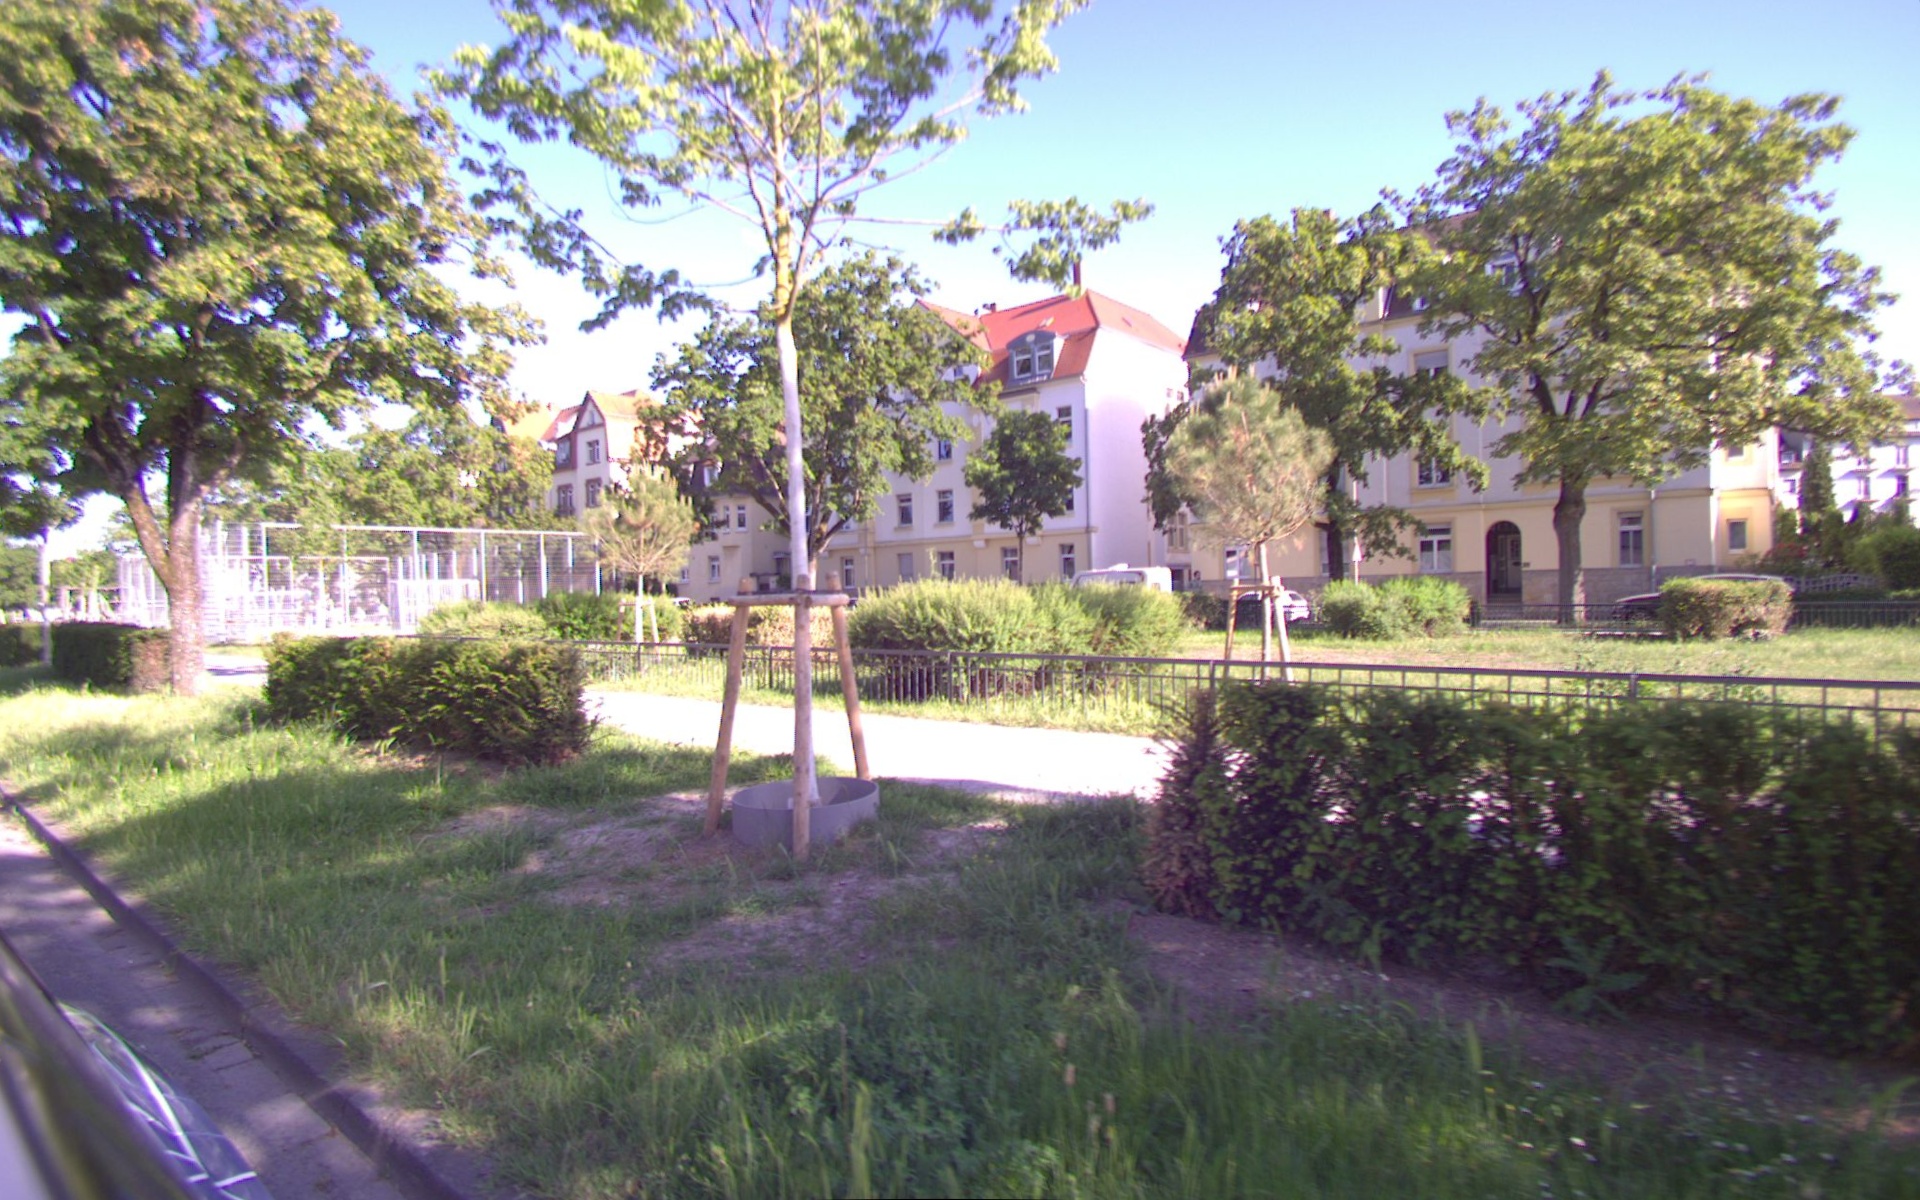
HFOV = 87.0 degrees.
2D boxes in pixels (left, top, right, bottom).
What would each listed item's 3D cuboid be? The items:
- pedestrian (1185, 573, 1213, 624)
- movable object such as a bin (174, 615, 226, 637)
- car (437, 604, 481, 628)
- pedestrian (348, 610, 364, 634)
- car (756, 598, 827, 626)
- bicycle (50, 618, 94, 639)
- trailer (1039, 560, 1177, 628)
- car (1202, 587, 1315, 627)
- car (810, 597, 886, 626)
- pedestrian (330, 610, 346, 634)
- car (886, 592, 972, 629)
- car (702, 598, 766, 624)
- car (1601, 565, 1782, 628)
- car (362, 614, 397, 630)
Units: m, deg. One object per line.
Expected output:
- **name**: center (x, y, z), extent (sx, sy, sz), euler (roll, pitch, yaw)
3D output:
- **pedestrian**: center (7.916, -0.053, 33.533), extent (0.650, 1.674, 0.641), euler (-1, -1, 41)
- **movable object such as a bin**: center (-45.744, 1.552, 60.970), extent (1.054, 1.251, 2.309), euler (-2, -1, 37)
- **car**: center (-44.117, 1.424, 89.105), extent (4.833, 1.997, 1.776), euler (-2, 0, 41)
- **pedestrian**: center (-34.668, 1.249, 58.122), extent (0.639, 1.328, 0.652), euler (-2, 0, -20)
- **car**: center (-9.985, 0.723, 59.807), extent (4.345, 1.521, 1.776), euler (-2, 0, 41)
- **bicycle**: center (-50.522, 1.619, 57.585), extent (0.499, 1.116, 1.777), euler (-2, 0, 39)
- **trailer**: center (6.627, -0.226, 45.807), extent (5.798, 2.892, 2.319), euler (-2, 0, 40)
- **car**: center (12.105, 0.305, 41.178), extent (3.998, 1.521, 1.775), euler (-1, 1, 41)
- **car**: center (-6.310, 0.641, 56.712), extent (4.345, 1.521, 1.776), euler (-2, 0, 41)
- **pedestrian**: center (-35.510, 1.272, 57.793), extent (0.639, 1.328, 0.652), euler (-2, 0, -20)
- **car**: center (-1.647, 0.553, 52.885), extent (4.486, 1.790, 1.776), euler (-2, 0, 41)
- **car**: center (-14.197, 0.718, 63.453), extent (4.229, 1.521, 1.776), euler (-2, 0, 41)
- **car**: center (22.795, -0.083, 31.640), extent (4.452, 1.829, 1.777), euler (-1, 0, 39)
- **car**: center (-58.027, 2.197, 101.136), extent (3.997, 1.566, 1.776), euler (-2, 0, 41)
